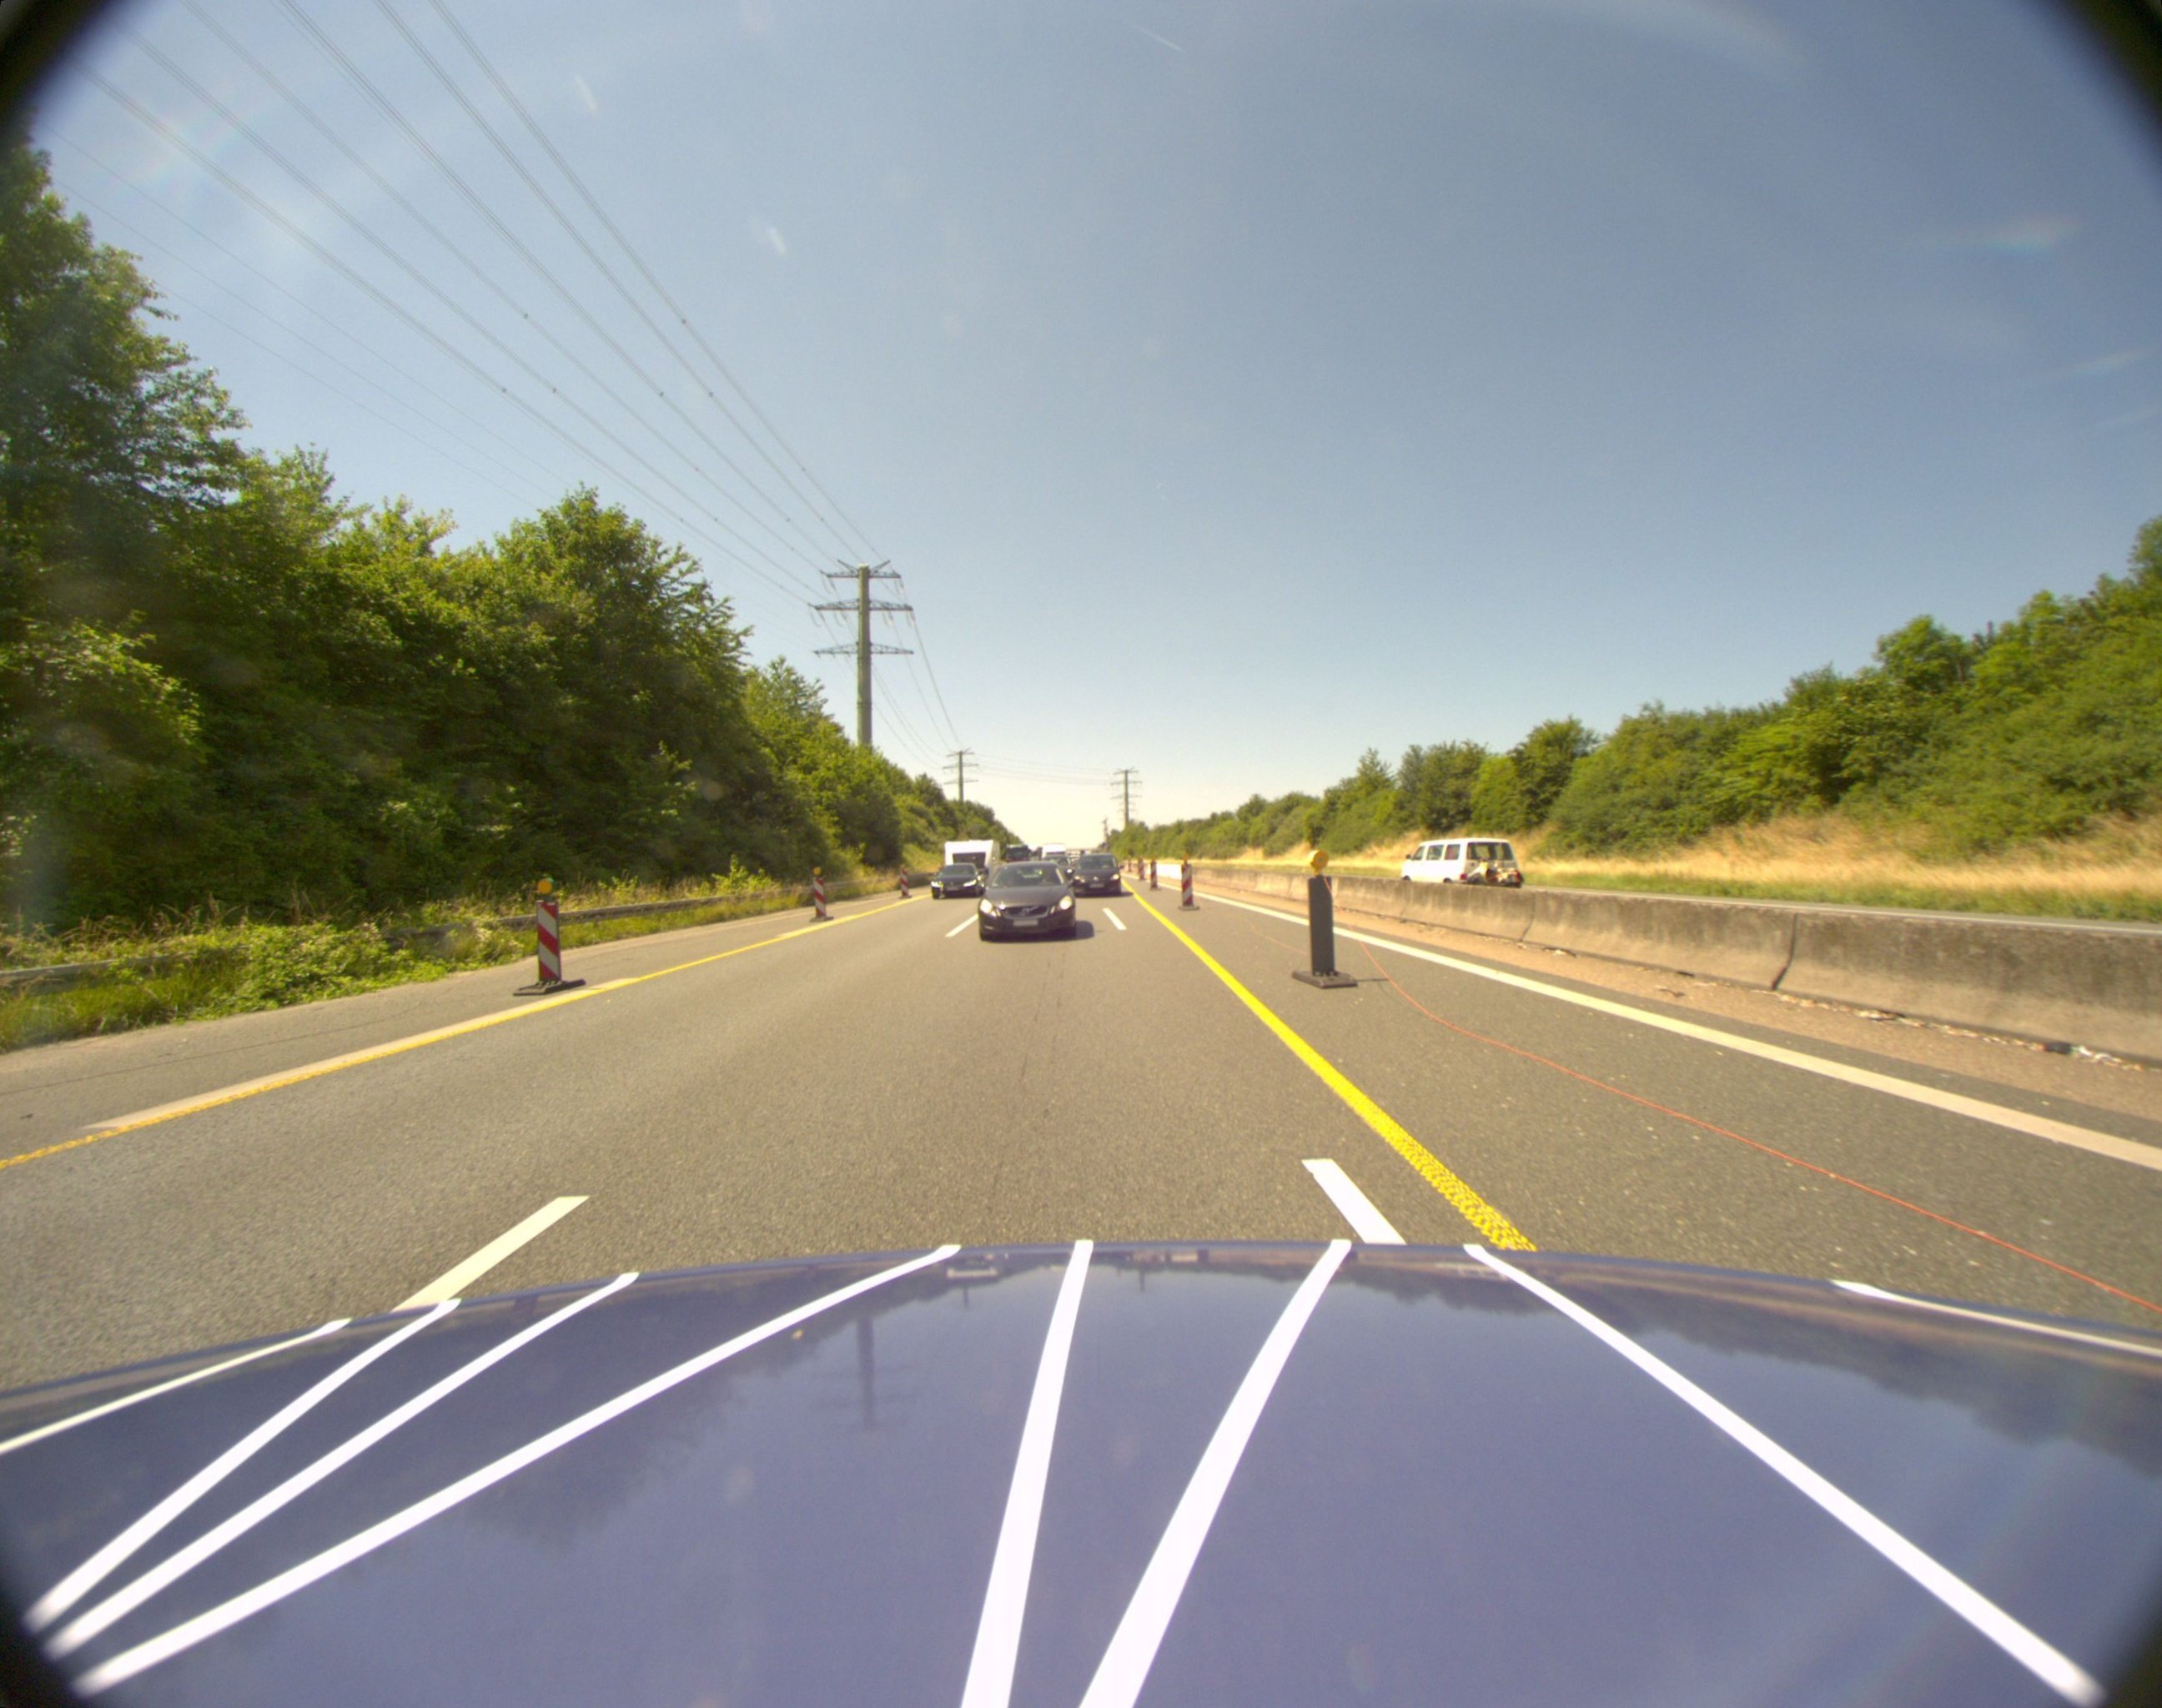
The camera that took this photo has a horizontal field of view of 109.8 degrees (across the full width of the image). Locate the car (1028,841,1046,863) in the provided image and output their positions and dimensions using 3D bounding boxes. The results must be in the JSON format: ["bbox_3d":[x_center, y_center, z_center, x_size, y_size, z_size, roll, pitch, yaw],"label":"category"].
[{"bbox_3d":[-8.042,-0.417,140.195,2.397,3.779,10.272,-3,0,0],"label":"car"}]

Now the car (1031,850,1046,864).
[{"bbox_3d":[-6.044,0.410,108.892,1.850,1.810,3.925,-3,0,0],"label":"car"}]

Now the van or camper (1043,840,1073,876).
[{"bbox_3d":[-1.707,0.265,57.787,1.998,2.604,5.629,-1,0,1],"label":"van or camper"}]

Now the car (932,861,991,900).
[{"bbox_3d":[-4.995,1.074,32.273,1.801,1.399,4.209,-2,0,0],"label":"car"}]

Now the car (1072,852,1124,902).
[{"bbox_3d":[0.614,0.773,28.239,1.675,1.619,4.690,-4,0,1],"label":"car"}]

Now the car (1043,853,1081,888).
[{"bbox_3d":[-0.946,0.809,39.730,1.745,1.658,4.157,-2,0,1],"label":"car"}]

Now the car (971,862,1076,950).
[{"bbox_3d":[-1.023,0.947,15.410,1.799,1.433,4.000,-2,0,0],"label":"car"}]

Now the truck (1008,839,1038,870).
[{"bbox_3d":[-6.408,0.080,85.129,2.431,3.122,7.647,-4,0,1],"label":"truck"}]

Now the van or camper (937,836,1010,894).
[{"bbox_3d":[-5.255,0.487,38.579,2.432,2.549,8.416,-2,0,0],"label":"van or camper"}]

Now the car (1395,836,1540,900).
[{"bbox_3d":[12.088,0.387,24.281,1.871,1.782,5.454,-1,0,0],"label":"car"}]
